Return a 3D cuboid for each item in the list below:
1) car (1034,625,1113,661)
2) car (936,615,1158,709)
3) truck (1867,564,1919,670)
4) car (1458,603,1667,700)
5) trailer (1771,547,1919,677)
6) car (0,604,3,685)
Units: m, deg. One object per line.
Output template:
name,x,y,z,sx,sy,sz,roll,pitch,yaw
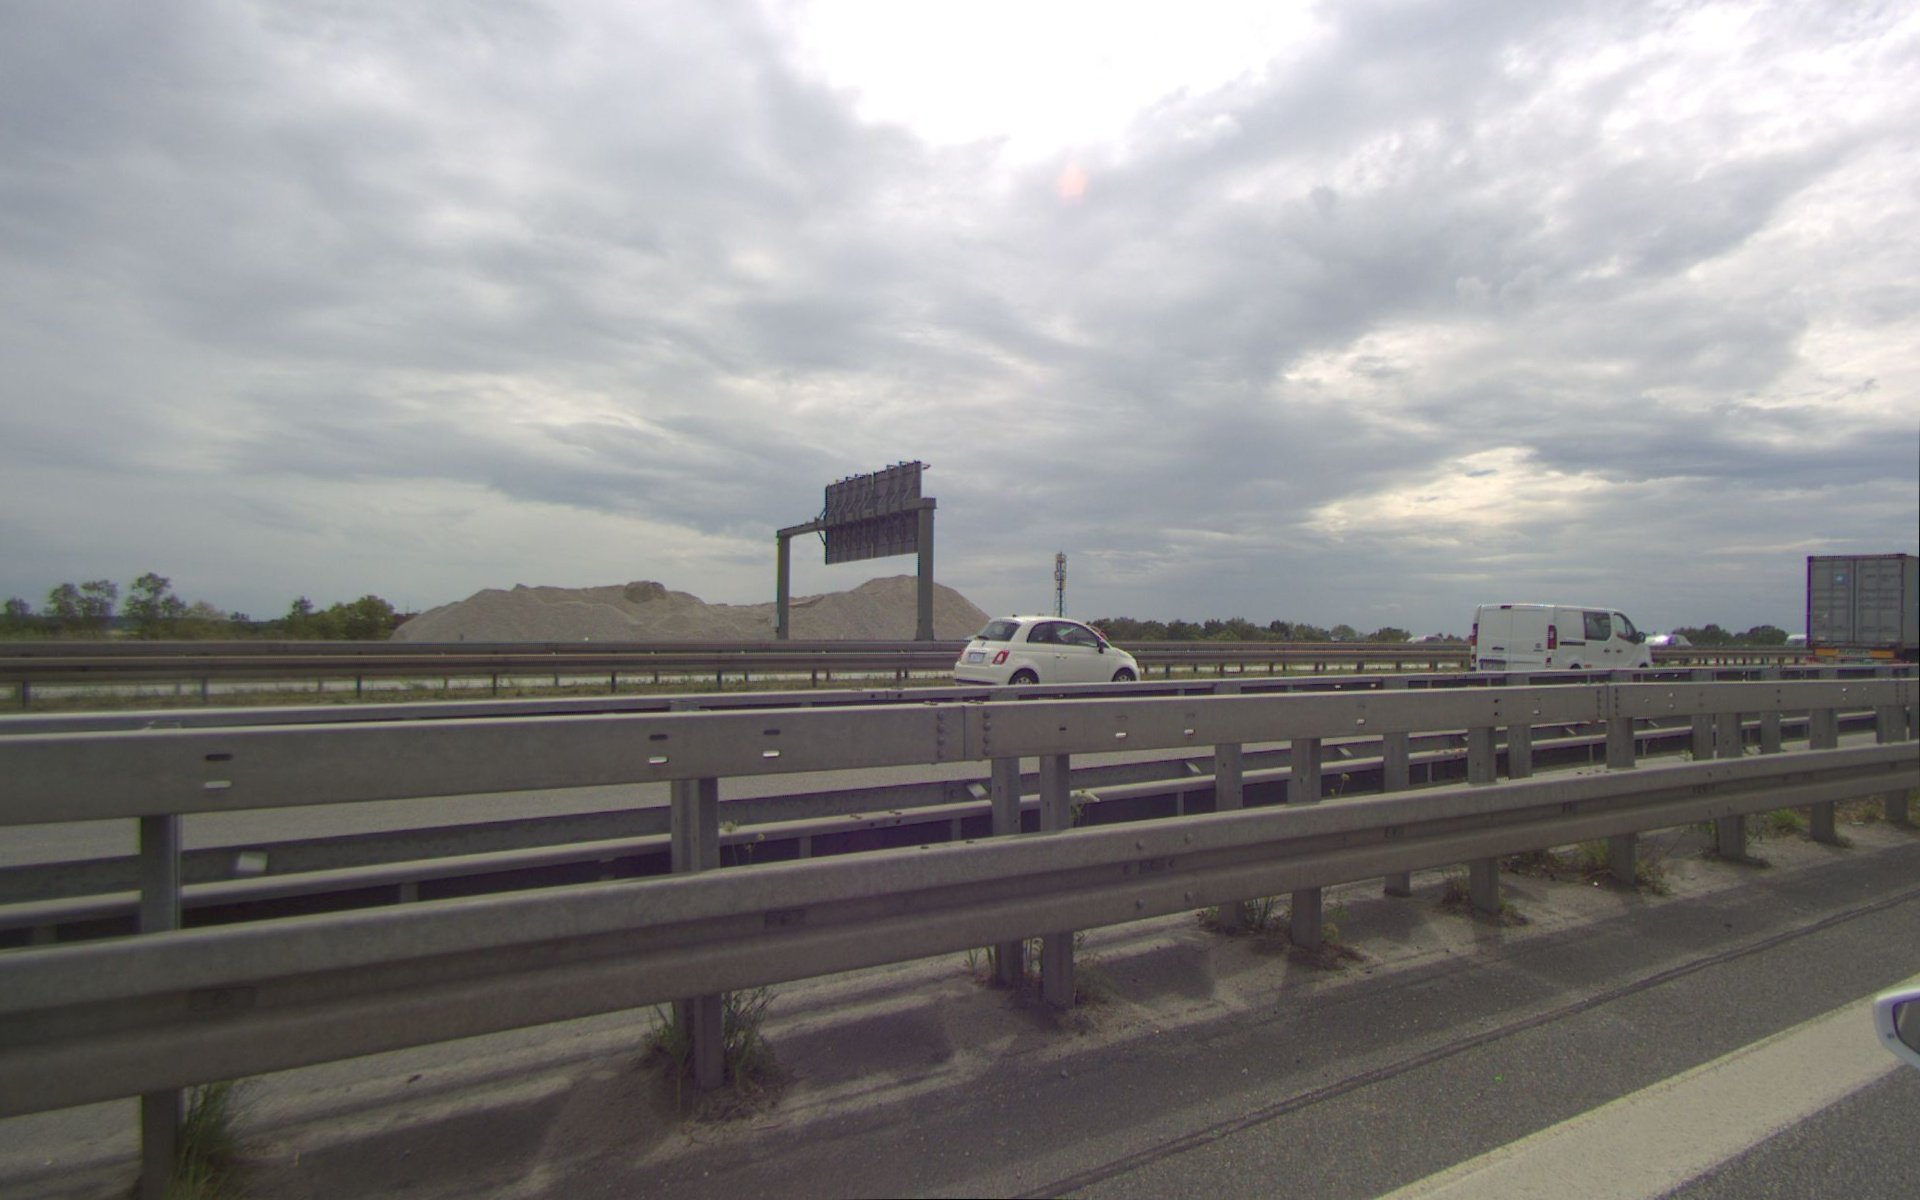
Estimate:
car,6.226,2.368,55.232,3.958,1.873,1.982,2,0,-34
car,1.586,1.083,17.857,3.736,1.504,1.670,2,-3,-34
truck,38.654,0.709,39.318,6.541,3.963,3.227,2,-1,-34
car,13.614,1.130,22.607,5.076,1.963,1.989,2,-1,-32
trailer,33.124,0.523,35.581,12.248,3.976,3.217,2,-1,-33
car,-18.903,0.773,16.623,4.097,1.488,1.981,2,-1,-34
